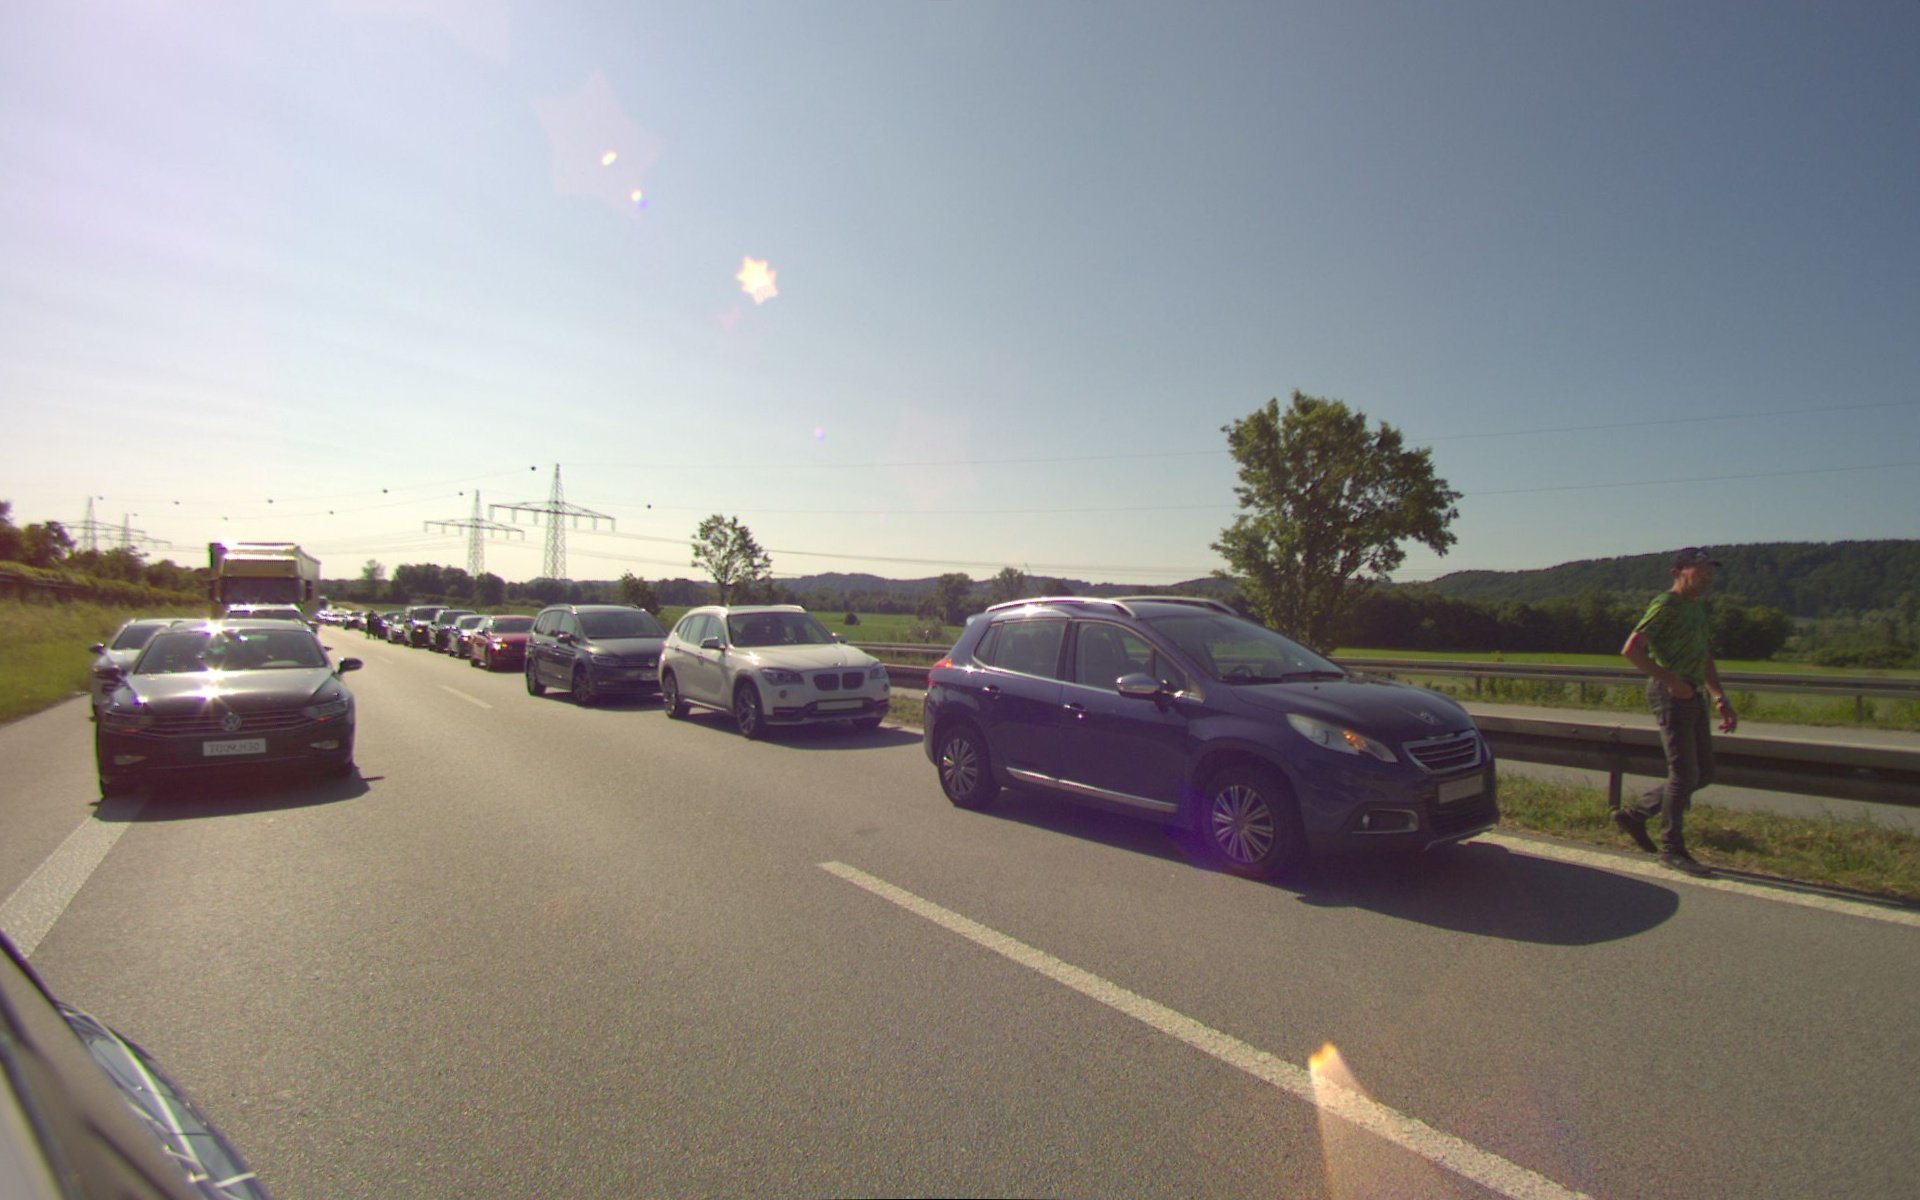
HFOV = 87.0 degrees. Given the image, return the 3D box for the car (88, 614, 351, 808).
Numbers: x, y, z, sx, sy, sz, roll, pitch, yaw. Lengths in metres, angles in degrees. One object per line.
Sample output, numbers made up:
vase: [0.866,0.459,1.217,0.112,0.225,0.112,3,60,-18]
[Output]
car: [-7.035,0.869,9.851,1.689,1.424,4.337,0,-1,-34]

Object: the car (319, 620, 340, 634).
car: [-67.591,2.867,108.485,1.790,1.470,4.129,-1,-1,-33]

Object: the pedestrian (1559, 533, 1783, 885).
pedestrian: [3.916,0.555,5.604,0.661,1.763,0.816,1,-2,-33]

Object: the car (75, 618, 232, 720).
car: [-13.256,1.039,16.856,1.689,1.436,4.337,0,-1,-34]

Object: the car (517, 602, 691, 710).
car: [-6.242,0.877,17.469,1.791,1.628,4.128,0,-1,-35]

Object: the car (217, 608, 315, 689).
car: [-15.730,1.033,23.014,1.689,1.636,4.337,0,-1,-34]

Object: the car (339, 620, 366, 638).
car: [-50.979,2.409,84.869,1.790,1.470,4.128,1,-2,-33]

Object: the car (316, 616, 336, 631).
car: [-75.840,2.837,121.052,1.784,1.807,3.783,1,-2,-34]

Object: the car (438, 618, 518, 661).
car: [-16.787,1.327,35.125,1.865,1.409,4.010,1,-2,-35]

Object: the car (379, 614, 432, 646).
car: [-28.346,1.524,51.675,1.967,1.542,4.010,1,-2,-35]

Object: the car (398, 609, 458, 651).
car: [-24.128,1.344,45.851,1.872,1.801,4.210,1,-2,-35]

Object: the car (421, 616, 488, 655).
car: [-20.131,1.398,40.236,1.864,1.466,4.010,1,-2,-34]

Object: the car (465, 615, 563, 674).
car: [-12.249,1.171,27.660,1.790,1.470,4.129,1,-2,-33]

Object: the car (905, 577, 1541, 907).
car: [1.439,0.687,6.836,1.666,1.546,3.957,-1,0,-37]

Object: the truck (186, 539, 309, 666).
truck: [-25.640,0.093,36.739,3.279,4.144,6.990,-1,0,-32]

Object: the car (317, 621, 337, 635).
car: [-70.765,3.143,113.166,1.790,1.470,4.129,1,-2,-33]

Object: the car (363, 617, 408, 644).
car: [-33.686,1.762,59.307,1.967,1.542,4.010,1,-2,-35]

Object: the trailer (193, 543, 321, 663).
trailer: [-28.746,0.139,42.022,3.332,4.144,13.994,-1,0,-31]

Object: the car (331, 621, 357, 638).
car: [-55.865,2.619,91.758,1.791,1.470,4.128,-1,-1,-34]

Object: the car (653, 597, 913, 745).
car: [-2.455,0.804,13.125,1.803,1.586,4.174,1,-1,-34]
